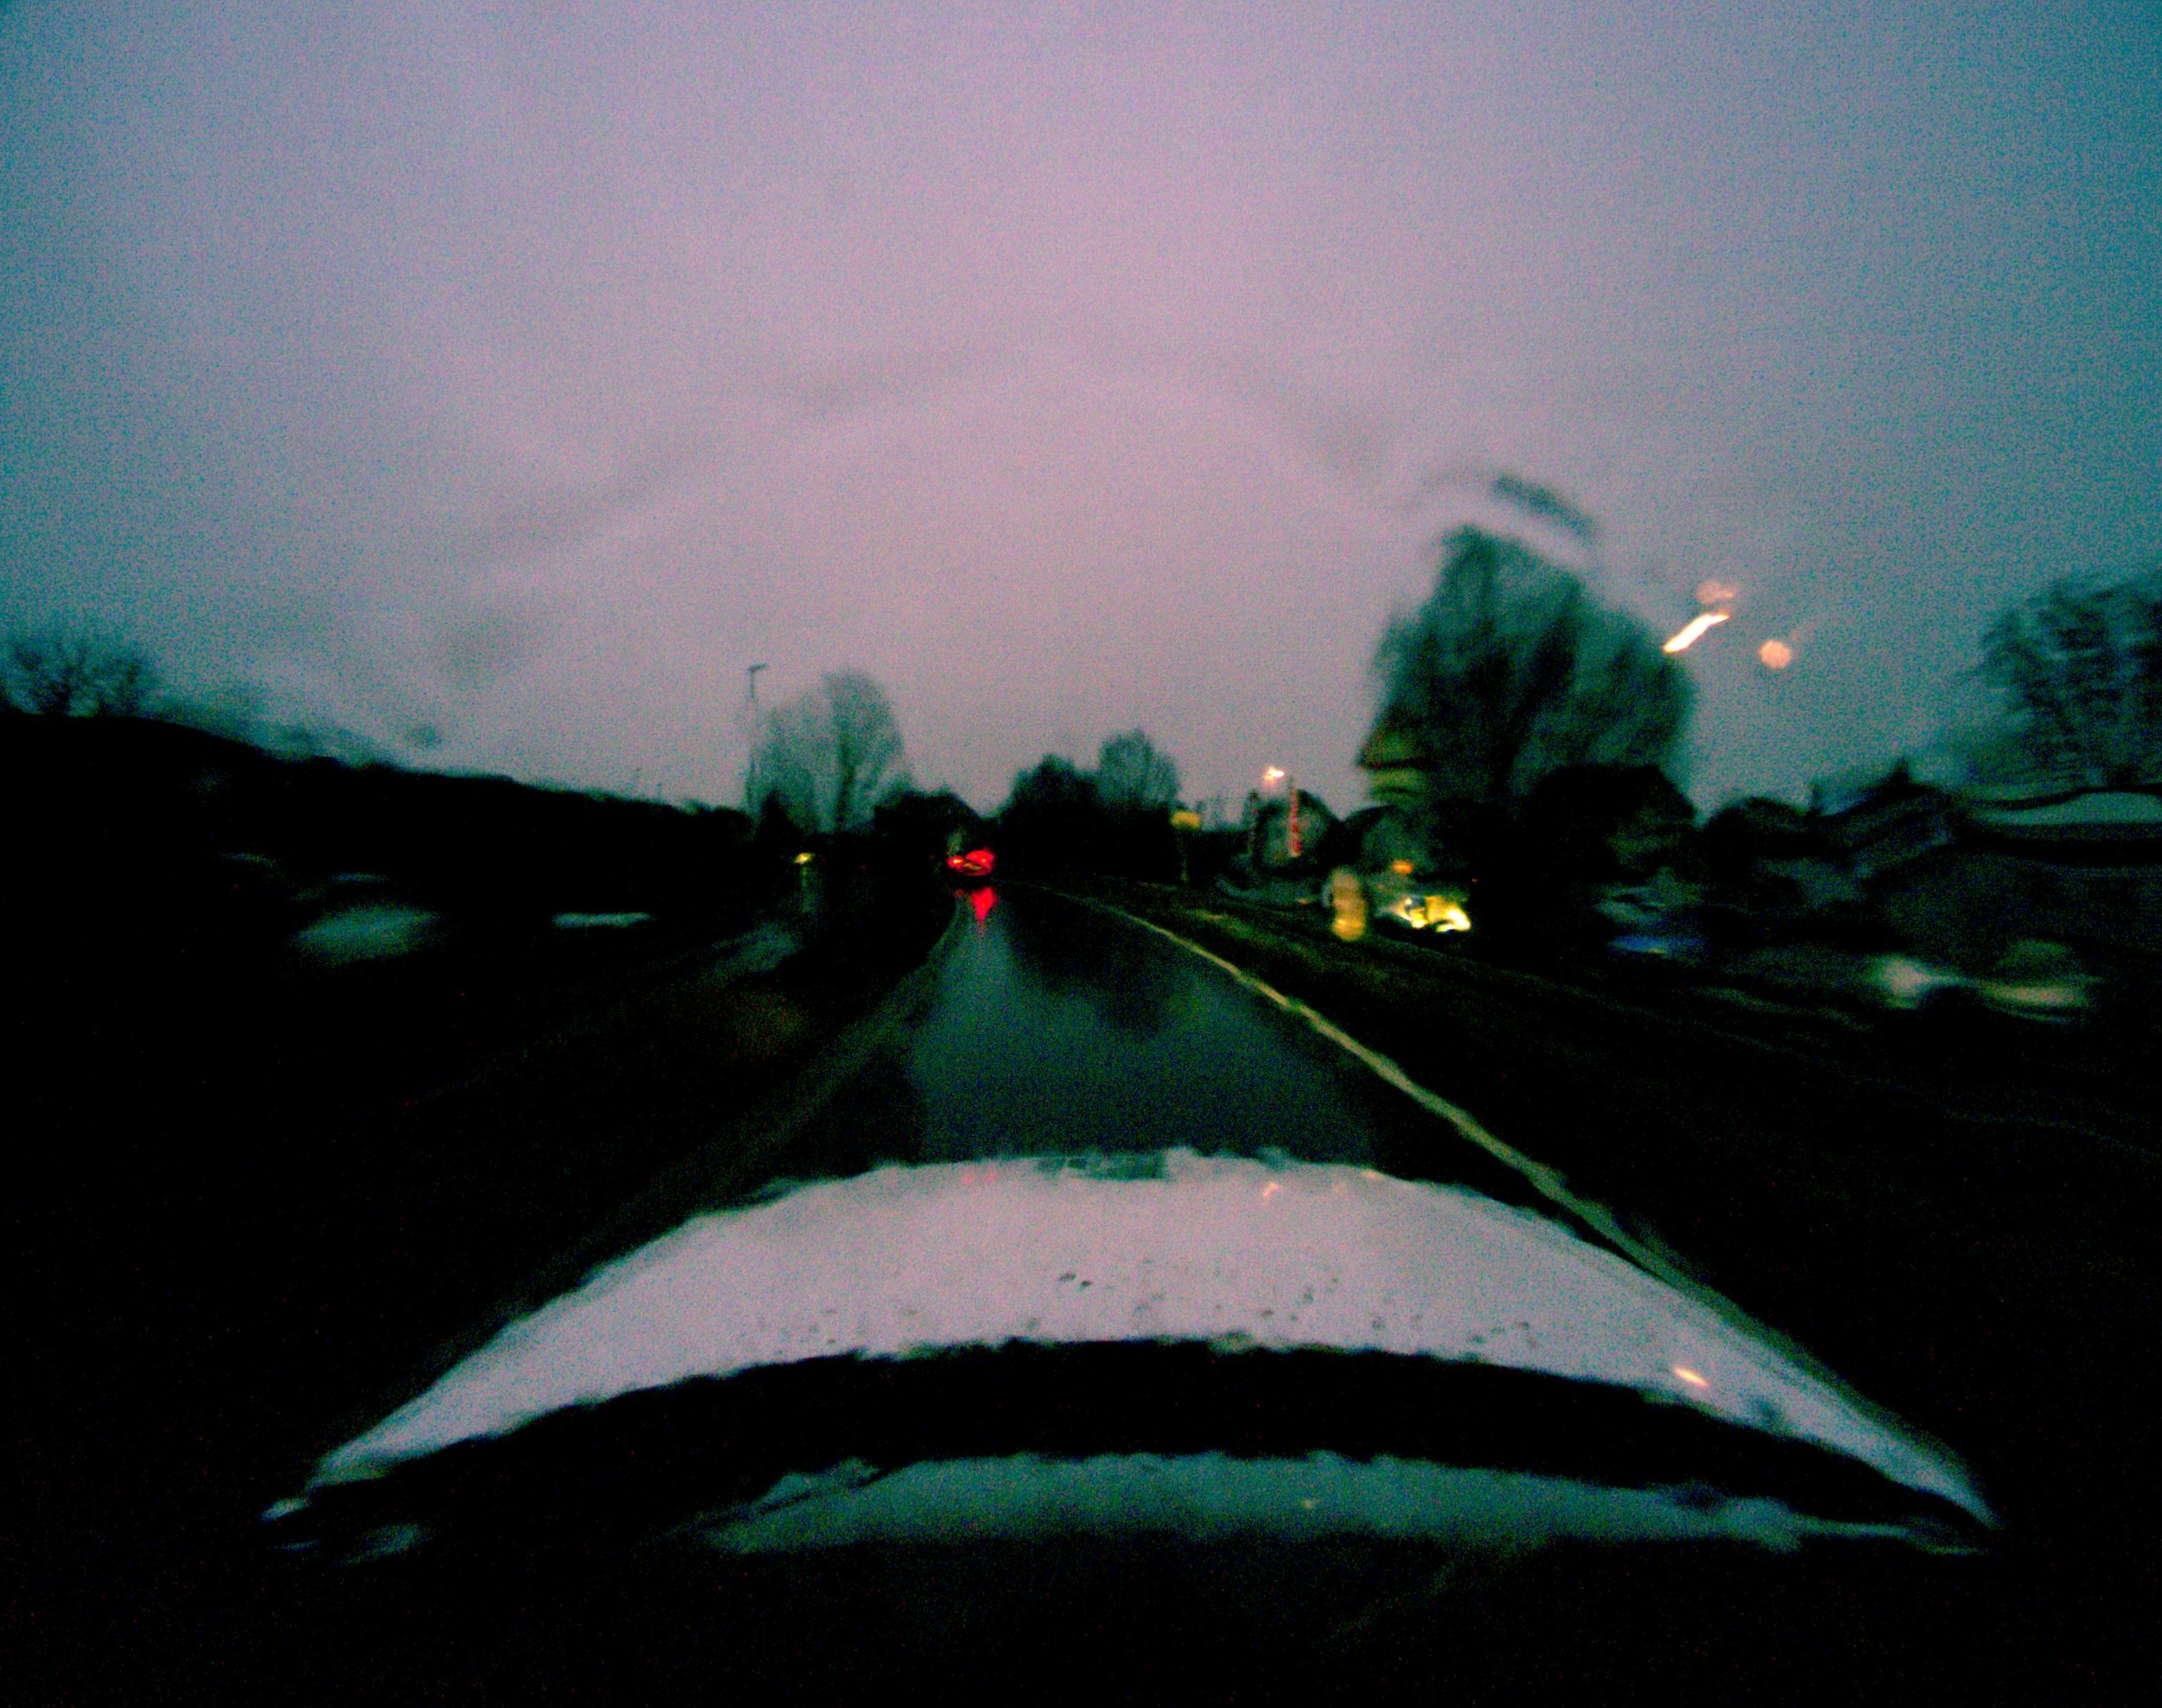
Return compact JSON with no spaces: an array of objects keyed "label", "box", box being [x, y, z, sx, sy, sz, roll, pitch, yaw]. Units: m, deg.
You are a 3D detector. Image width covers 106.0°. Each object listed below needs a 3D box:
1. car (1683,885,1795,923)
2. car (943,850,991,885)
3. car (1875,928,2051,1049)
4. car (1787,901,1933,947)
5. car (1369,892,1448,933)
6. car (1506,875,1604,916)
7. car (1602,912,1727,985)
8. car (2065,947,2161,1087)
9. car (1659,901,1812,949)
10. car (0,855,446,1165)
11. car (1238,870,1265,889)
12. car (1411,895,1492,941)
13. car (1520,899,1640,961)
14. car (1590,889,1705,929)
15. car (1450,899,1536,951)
[{"label":"car","box":[29.219,2.200,36.306,3.789,1.500,1.579,-1,0,36]},{"label":"car","box":[-5.905,0.690,41.916,1.948,1.718,3.978,1,-1,-16]},{"label":"car","box":[15.801,2.237,14.581,4.729,1.396,1.882,-1,0,-41]},{"label":"car","box":[28.363,2.516,29.814,3.790,1.352,1.579,-1,0,42]},{"label":"car","box":[13.889,2.413,34.441,1.774,1.439,4.024,-1,0,43]},{"label":"car","box":[23.985,2.054,41.261,3.984,1.868,1.734,-1,0,43]},{"label":"car","box":[15.318,2.362,21.286,4.204,1.396,1.881,-1,0,-44]},{"label":"car","box":[15.857,2.274,11.623,1.828,1.396,4.205,-2,0,44]},{"label":"car","box":[24.241,2.588,30.269,1.756,1.425,4.263,-1,0,-45]},{"label":"car","box":[-6.393,0.821,5.213,1.690,1.578,3.881,-1,-1,-2]},{"label":"car","box":[15.286,2.245,73.255,1.927,1.547,4.006,-1,0,5]},{"label":"car","box":[14.238,2.392,31.200,1.611,1.420,4.024,-1,0,42]},{"label":"car","box":[14.930,2.186,24.240,4.613,1.455,1.907,0,-1,-44]},{"label":"car","box":[23.823,2.263,34.308,1.578,1.430,3.715,-1,0,-43]},{"label":"car","box":[14.310,2.385,28.157,1.611,1.420,4.024,-1,0,42]}]
